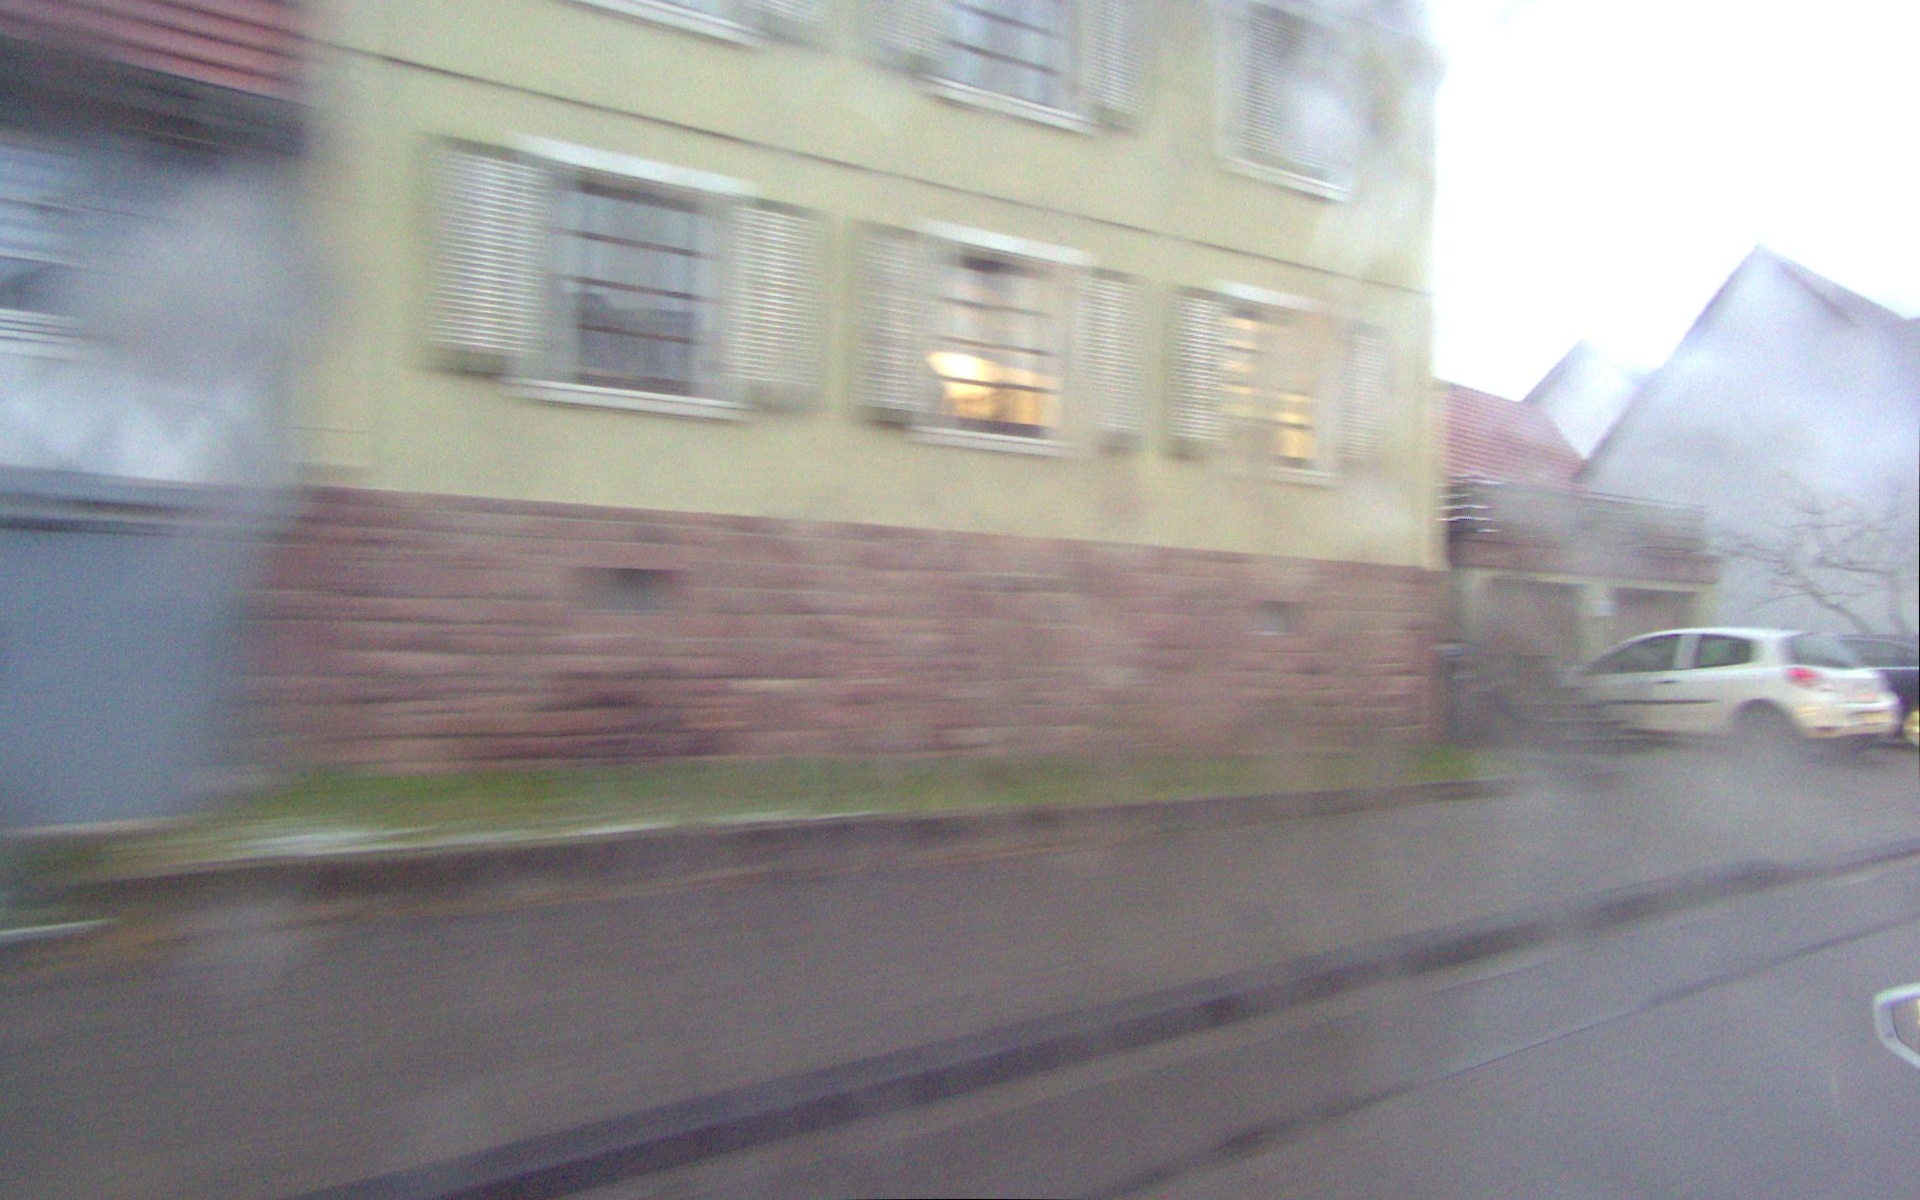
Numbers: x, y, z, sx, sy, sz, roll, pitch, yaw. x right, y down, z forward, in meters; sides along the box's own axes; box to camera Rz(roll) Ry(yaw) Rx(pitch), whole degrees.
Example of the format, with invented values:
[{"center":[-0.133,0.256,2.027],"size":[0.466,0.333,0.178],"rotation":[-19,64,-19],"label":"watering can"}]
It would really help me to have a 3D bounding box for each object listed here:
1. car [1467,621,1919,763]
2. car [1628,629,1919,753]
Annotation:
[{"center":[9.213,1.045,13.073],"size":[1.865,1.490,4.593],"rotation":[1,-2,-23],"label":"car"},{"center":[12.019,1.153,13.619],"size":[1.974,1.490,4.577],"rotation":[2,-2,-27],"label":"car"}]
